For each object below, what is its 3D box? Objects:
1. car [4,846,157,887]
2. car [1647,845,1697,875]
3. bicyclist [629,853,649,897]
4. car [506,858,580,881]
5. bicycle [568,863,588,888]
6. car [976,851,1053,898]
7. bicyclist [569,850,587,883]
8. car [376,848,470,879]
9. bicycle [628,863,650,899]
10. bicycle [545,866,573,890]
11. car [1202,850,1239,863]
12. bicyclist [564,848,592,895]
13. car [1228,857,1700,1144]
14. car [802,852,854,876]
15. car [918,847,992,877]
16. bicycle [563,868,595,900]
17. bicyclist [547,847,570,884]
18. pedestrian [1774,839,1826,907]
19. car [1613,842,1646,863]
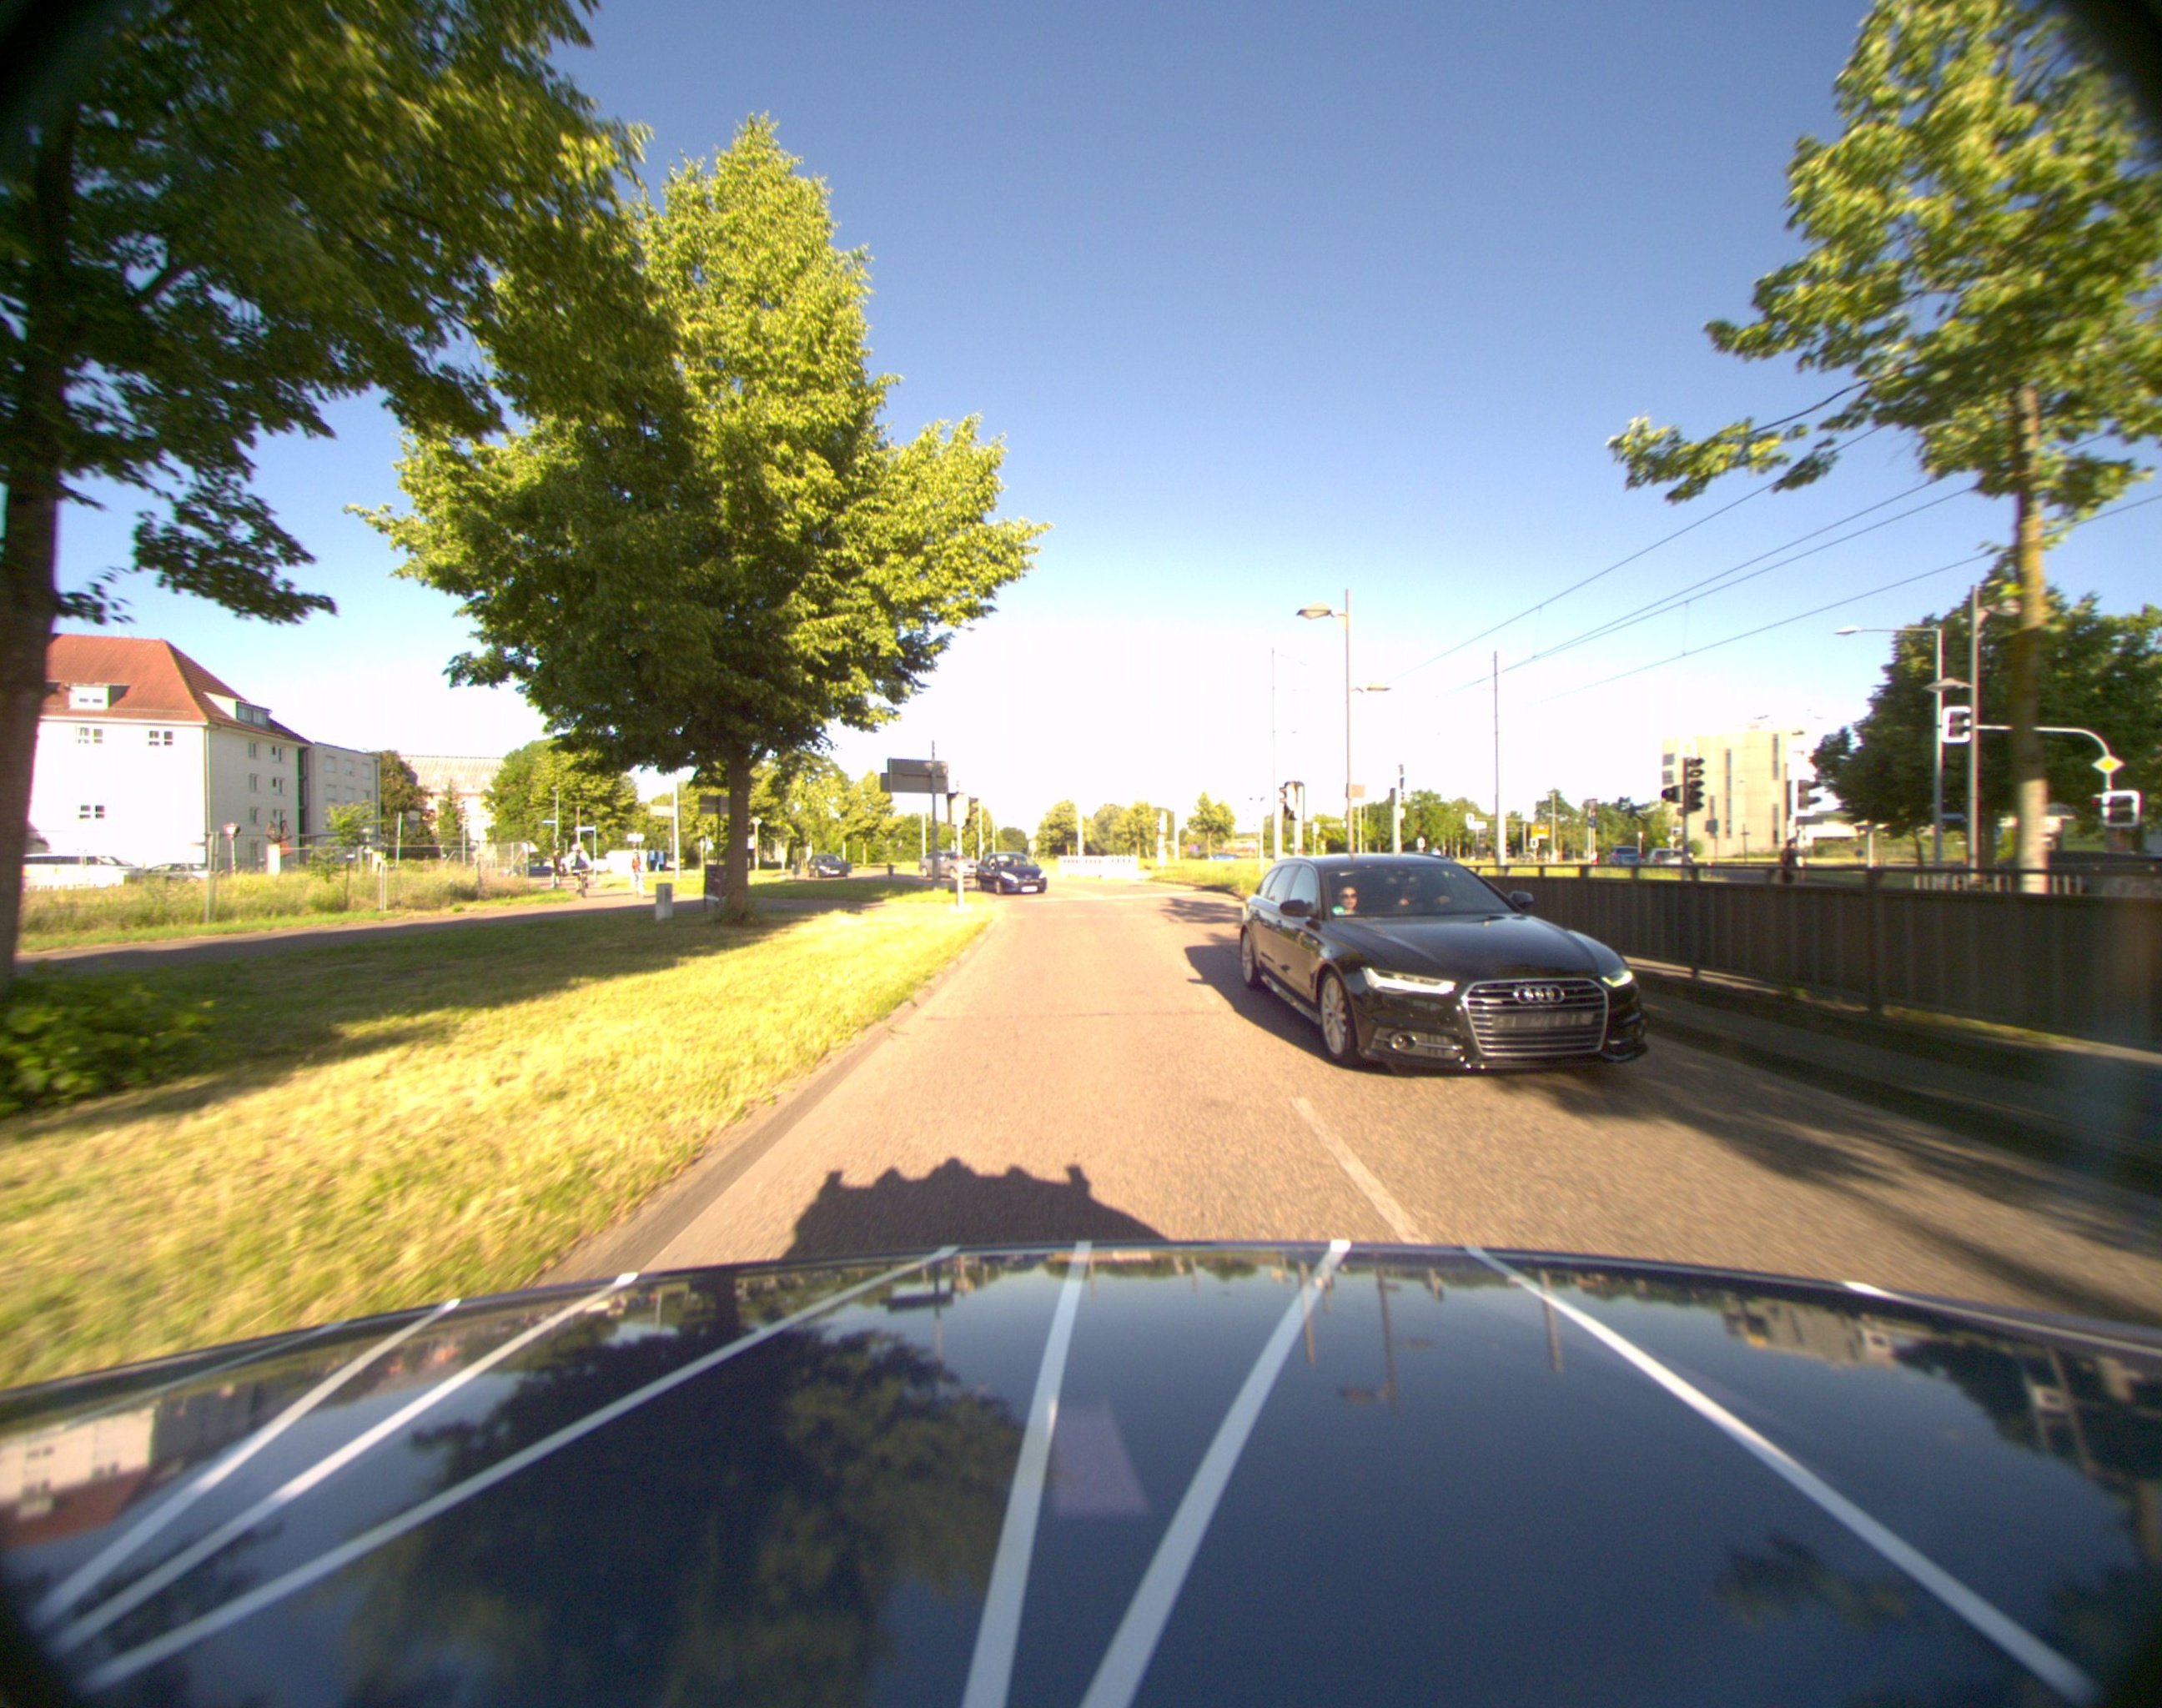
[{"bbox_3d":[-52.715,0.620,40.153,4.477,2.002,1.996,-1,1,-20],"label":"car"},{"bbox_3d":[29.944,0.251,38.588,1.659,1.388,3.619,3,2,33],"label":"car"},{"bbox_3d":[-15.094,0.707,25.949,0.505,1.464,0.832,-1,1,-25],"label":"bicyclist"},{"bbox_3d":[-37.430,1.029,52.884,4.007,1.370,1.752,-2,2,-40],"label":"car"},{"bbox_3d":[-23.153,0.974,34.966,0.480,1.076,1.639,-3,3,-44],"label":"bicycle"},{"bbox_3d":[-2.543,0.704,28.142,1.766,1.507,3.940,-2,2,-21],"label":"car"},{"bbox_3d":[-23.123,0.571,34.913,0.473,1.478,0.913,-3,3,-44],"label":"bicyclist"},{"bbox_3d":[-38.307,0.526,44.351,3.567,1.740,2.022,-1,1,-15],"label":"car"},{"bbox_3d":[-15.117,0.903,26.005,0.508,1.145,1.601,-1,1,-26],"label":"bicycle"},{"bbox_3d":[-22.948,1.046,33.387,1.895,0.955,0.594,1,3,43],"label":"bicycle"},{"bbox_3d":[16.844,0.286,91.682,4.010,1.420,1.801,-1,2,-6],"label":"car"},{"bbox_3d":[-16.835,0.581,25.428,0.656,1.544,0.792,-2,2,-40],"label":"bicyclist"},{"bbox_3d":[2.561,0.822,6.499,1.788,1.518,4.601,-1,0,1],"label":"car"},{"bbox_3d":[-15.673,0.593,46.964,1.854,1.420,3.937,-1,1,-36],"label":"car"},{"bbox_3d":[-6.999,0.402,41.848,1.854,1.560,4.515,-1,1,-43],"label":"car"},{"bbox_3d":[-16.775,0.988,25.381,0.659,1.006,1.815,-1,1,-40],"label":"bicycle"},{"bbox_3d":[-22.934,0.503,33.349,0.963,1.578,0.594,1,3,43],"label":"bicyclist"},{"bbox_3d":[16.971,0.437,17.950,0.418,1.569,0.811,-1,2,-2],"label":"pedestrian"},{"bbox_3d":[35.805,-0.141,49.573,1.660,1.257,3.628,0,2,37],"label":"car"}]
